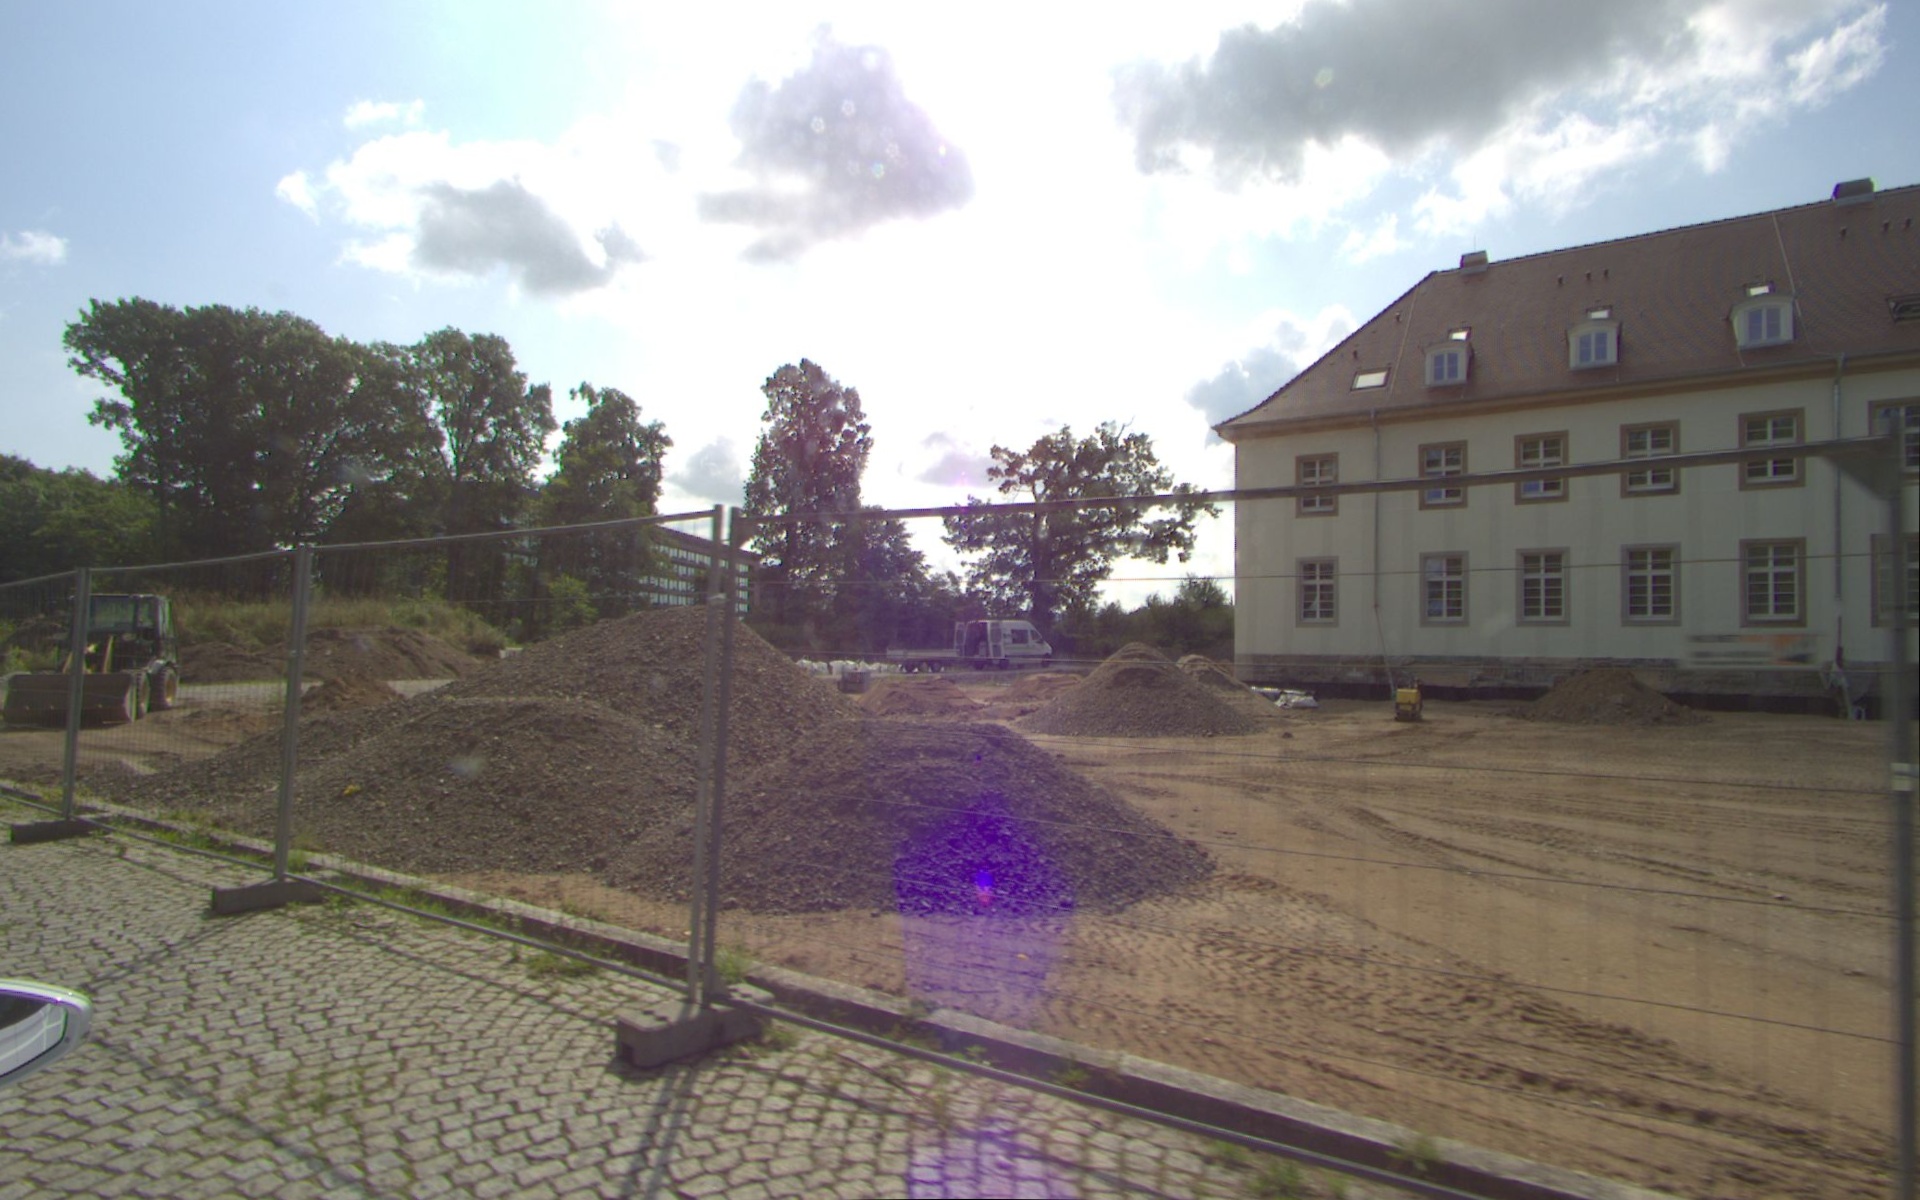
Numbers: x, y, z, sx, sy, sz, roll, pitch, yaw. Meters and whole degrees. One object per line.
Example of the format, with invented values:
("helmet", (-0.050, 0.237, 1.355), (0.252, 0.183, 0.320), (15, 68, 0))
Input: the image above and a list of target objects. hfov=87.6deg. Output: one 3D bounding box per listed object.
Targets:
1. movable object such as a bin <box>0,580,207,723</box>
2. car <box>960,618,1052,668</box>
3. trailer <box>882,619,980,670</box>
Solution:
("movable object such as a bin", (-17.510, 0.974, 20.796), (2.118, 2.554, 5.630), (1, -1, -28))
("car", (2.568, 2.326, 54.569), (2.221, 2.624, 5.396), (-1, -2, 41))
("trailer", (-1.449, 2.251, 51.066), (4.784, 2.504, 1.948), (1, -2, -35))
